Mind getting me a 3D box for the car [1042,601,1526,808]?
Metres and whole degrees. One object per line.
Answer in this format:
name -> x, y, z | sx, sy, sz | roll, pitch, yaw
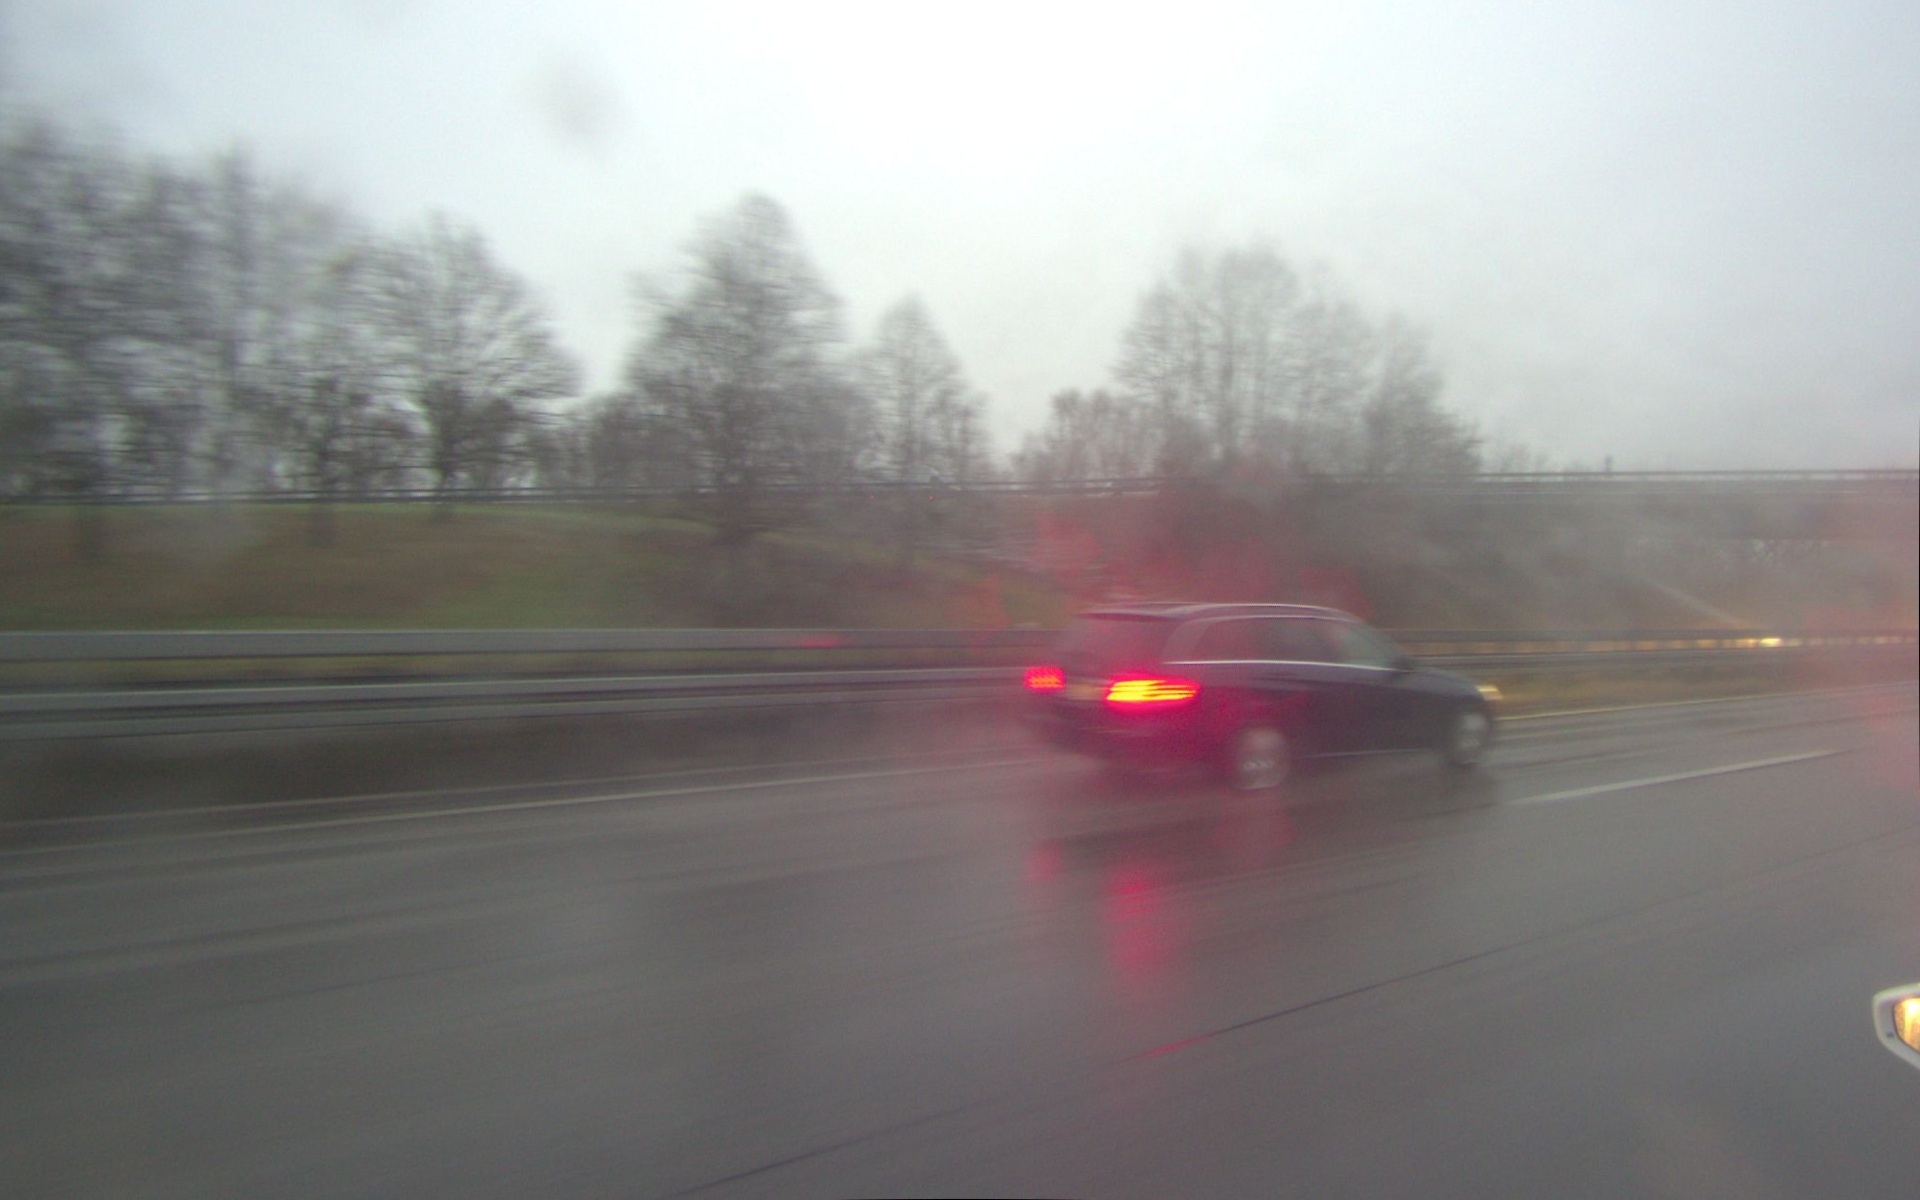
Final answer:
car -> 3.049, 0.828, 9.169 | 4.364, 1.486, 1.789 | 0, -4, -32
